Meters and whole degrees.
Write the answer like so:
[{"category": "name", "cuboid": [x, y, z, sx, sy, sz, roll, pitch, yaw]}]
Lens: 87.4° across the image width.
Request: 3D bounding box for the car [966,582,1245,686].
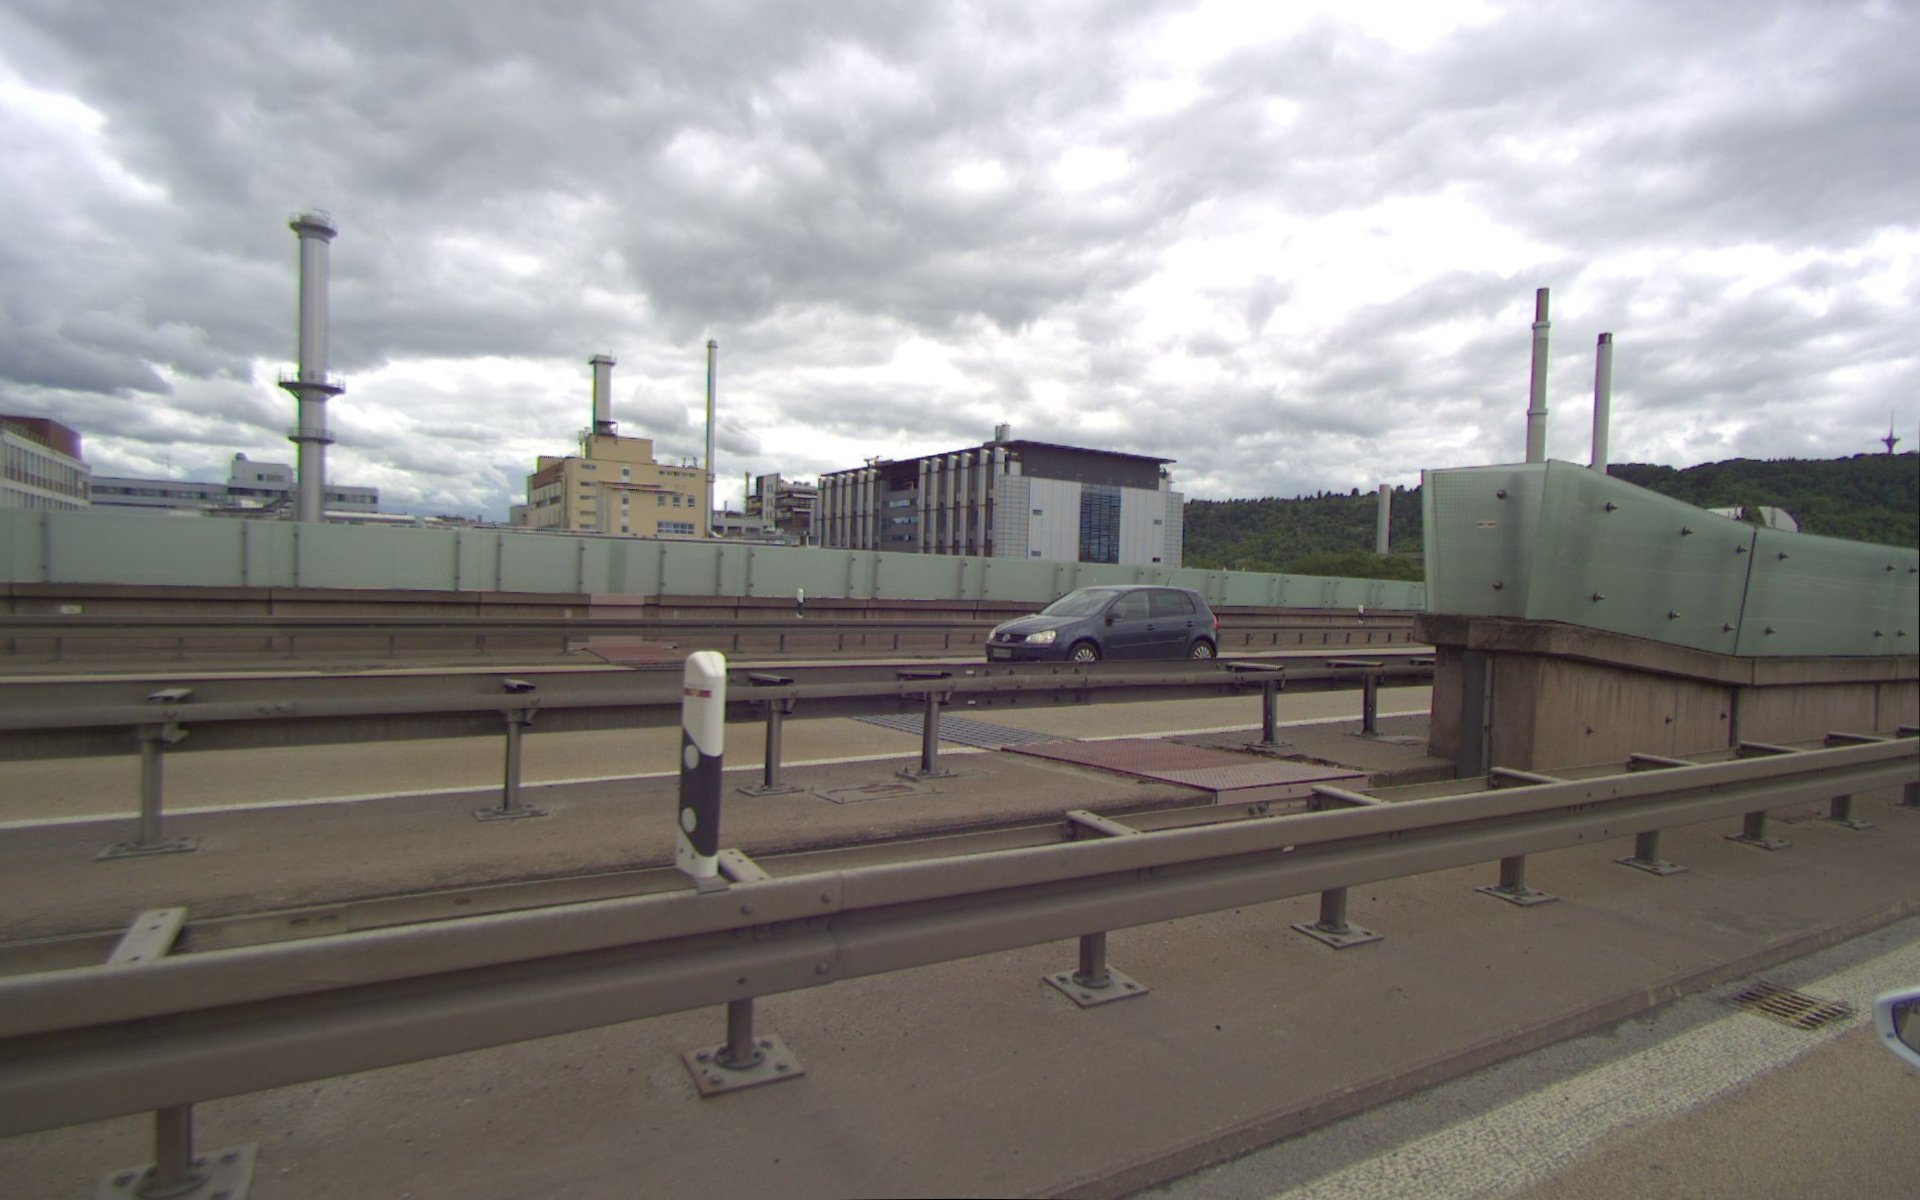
[{"category": "car", "cuboid": [2.377, 0.498, 15.950, 4.351, 1.451, 1.749, 1, 0, -34]}]
